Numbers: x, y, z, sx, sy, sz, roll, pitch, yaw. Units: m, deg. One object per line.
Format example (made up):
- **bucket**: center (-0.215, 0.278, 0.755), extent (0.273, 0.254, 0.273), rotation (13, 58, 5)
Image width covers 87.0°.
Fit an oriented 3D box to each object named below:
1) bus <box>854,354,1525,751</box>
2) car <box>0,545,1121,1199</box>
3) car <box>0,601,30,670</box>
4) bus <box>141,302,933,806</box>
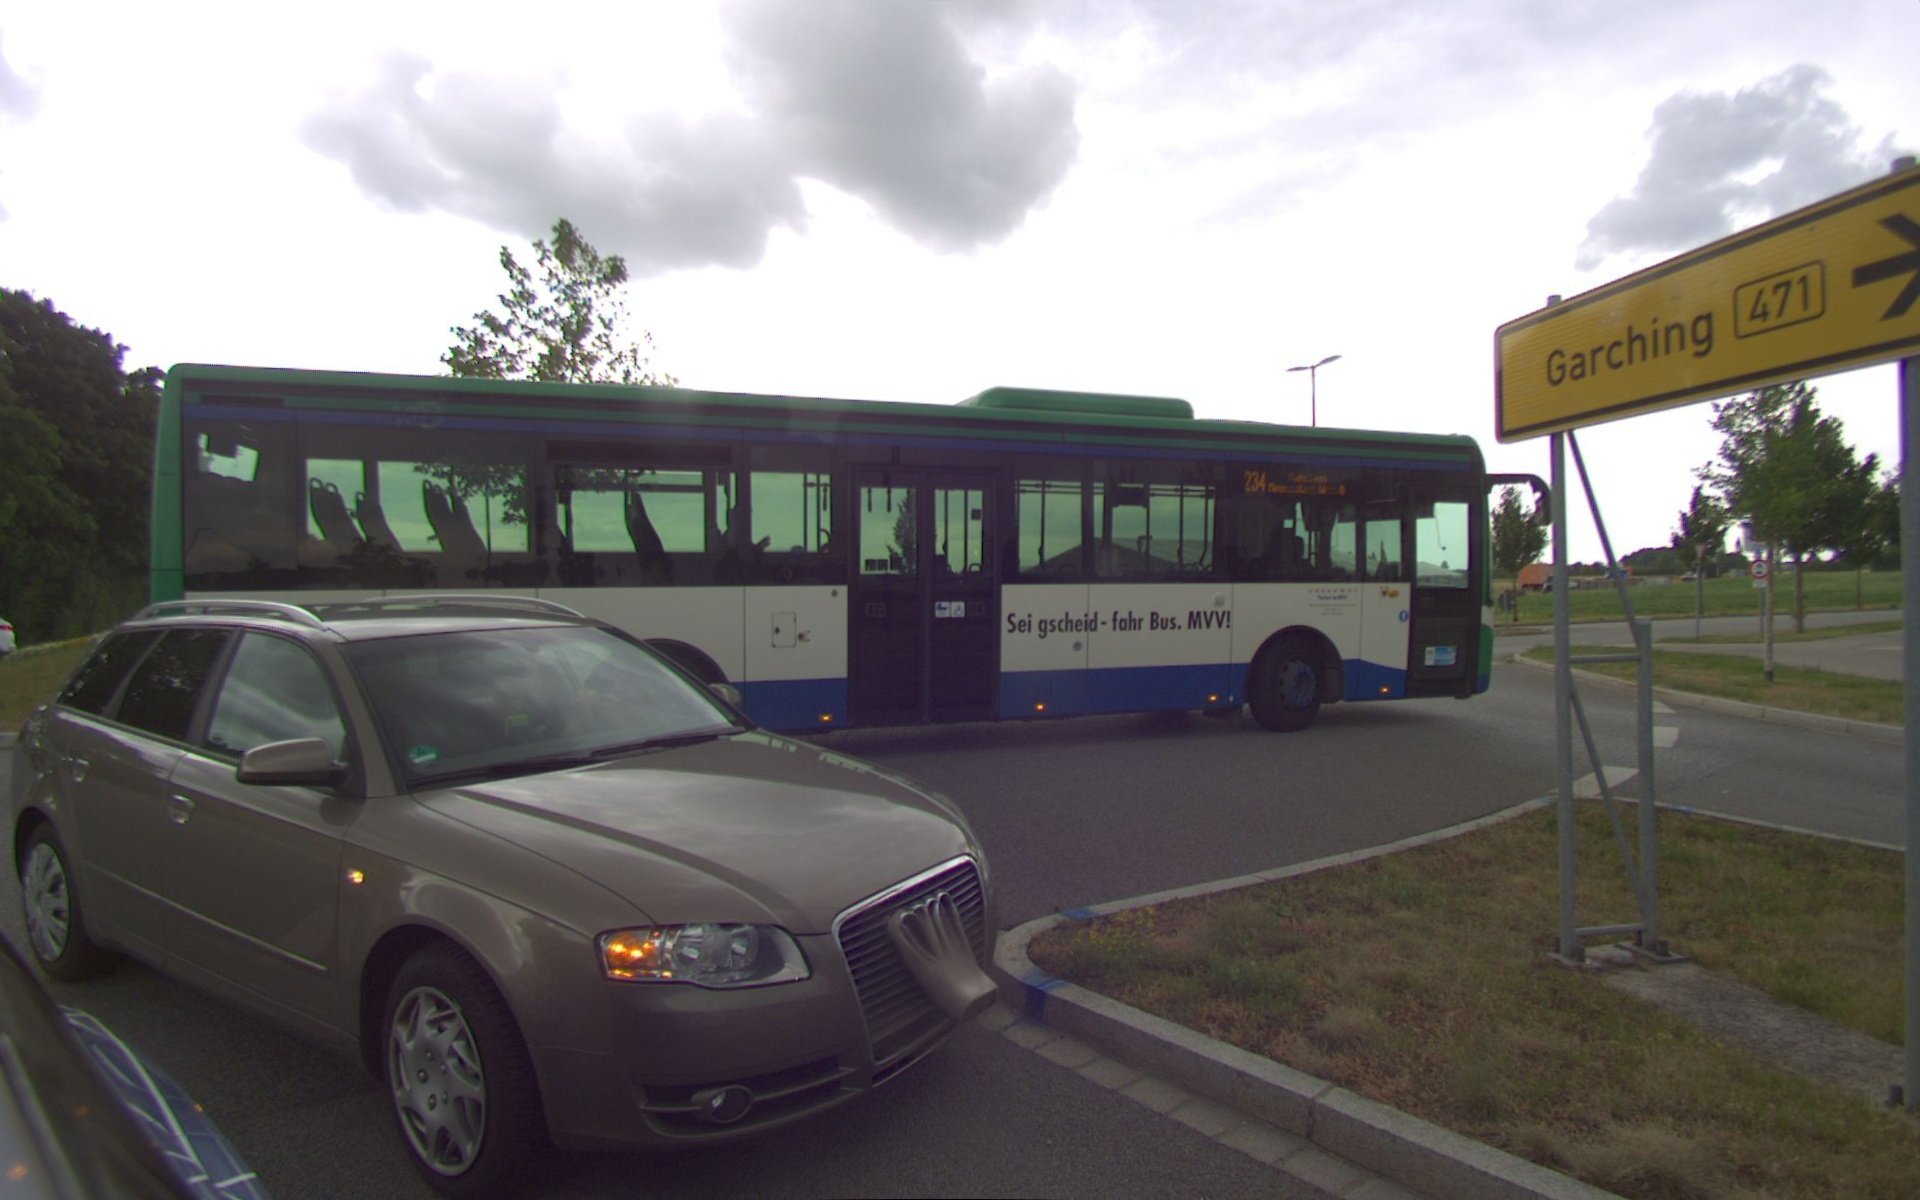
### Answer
- **bus**: center (2.332, -0.396, 10.582), extent (6.436, 3.283, 2.533), rotation (0, 0, -18)
- **car**: center (-1.867, 0.652, 3.731), extent (4.524, 1.476, 1.765), rotation (-1, 1, 31)
- **car**: center (-24.413, 0.957, 23.155), extent (1.920, 1.614, 4.229), rotation (-2, 2, 31)
- **bus**: center (-3.175, -0.303, 8.620), extent (5.367, 3.283, 2.533), rotation (0, 0, -18)
